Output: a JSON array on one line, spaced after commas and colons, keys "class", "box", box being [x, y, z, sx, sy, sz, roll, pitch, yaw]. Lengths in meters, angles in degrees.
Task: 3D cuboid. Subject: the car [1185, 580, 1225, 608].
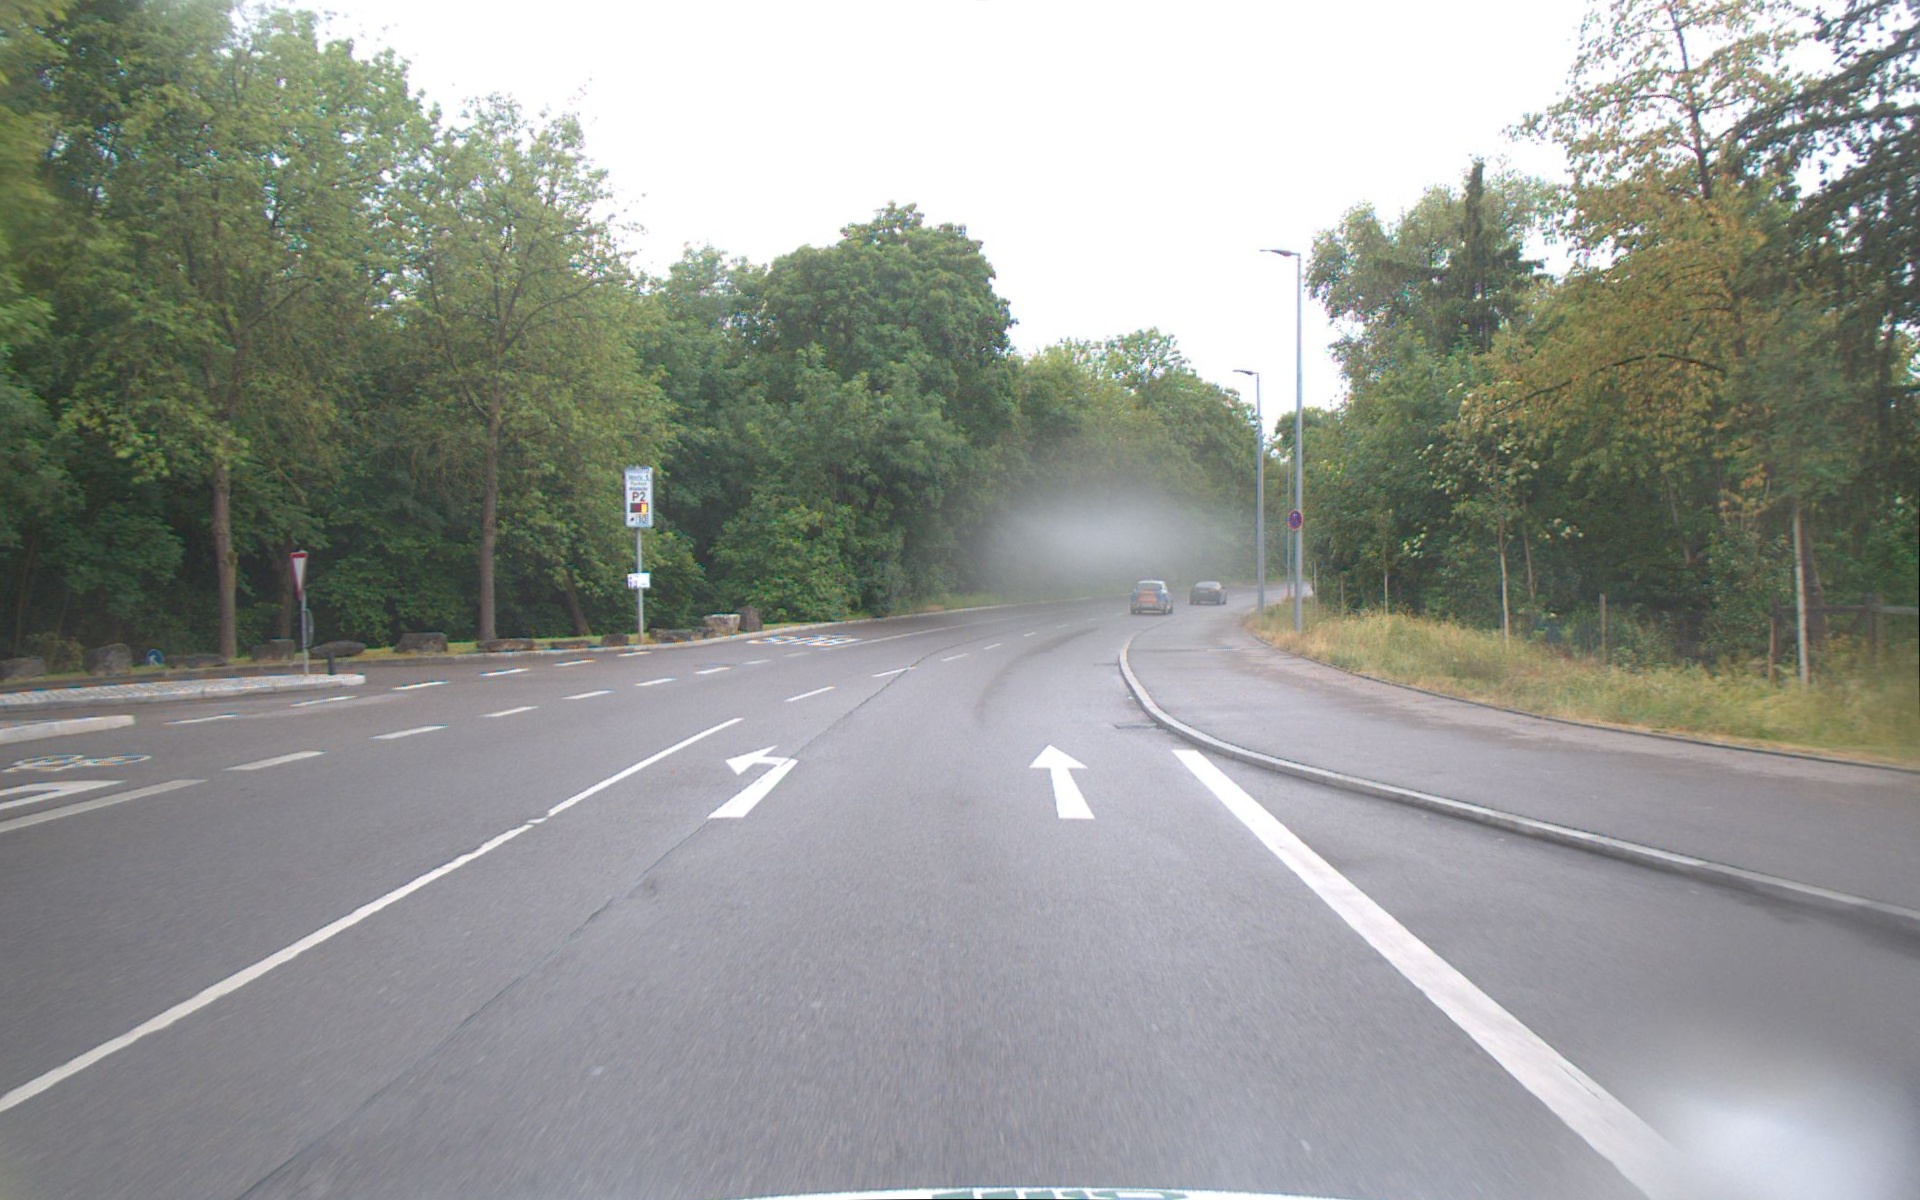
[{"class": "car", "box": [14.552, -0.373, 98.078, 1.886, 1.512, 3.803, -1, 2, 16]}]

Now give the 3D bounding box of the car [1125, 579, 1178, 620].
[{"class": "car", "box": [9.040, -0.034, 77.876, 1.951, 1.718, 4.004, -1, 2, 14]}]
